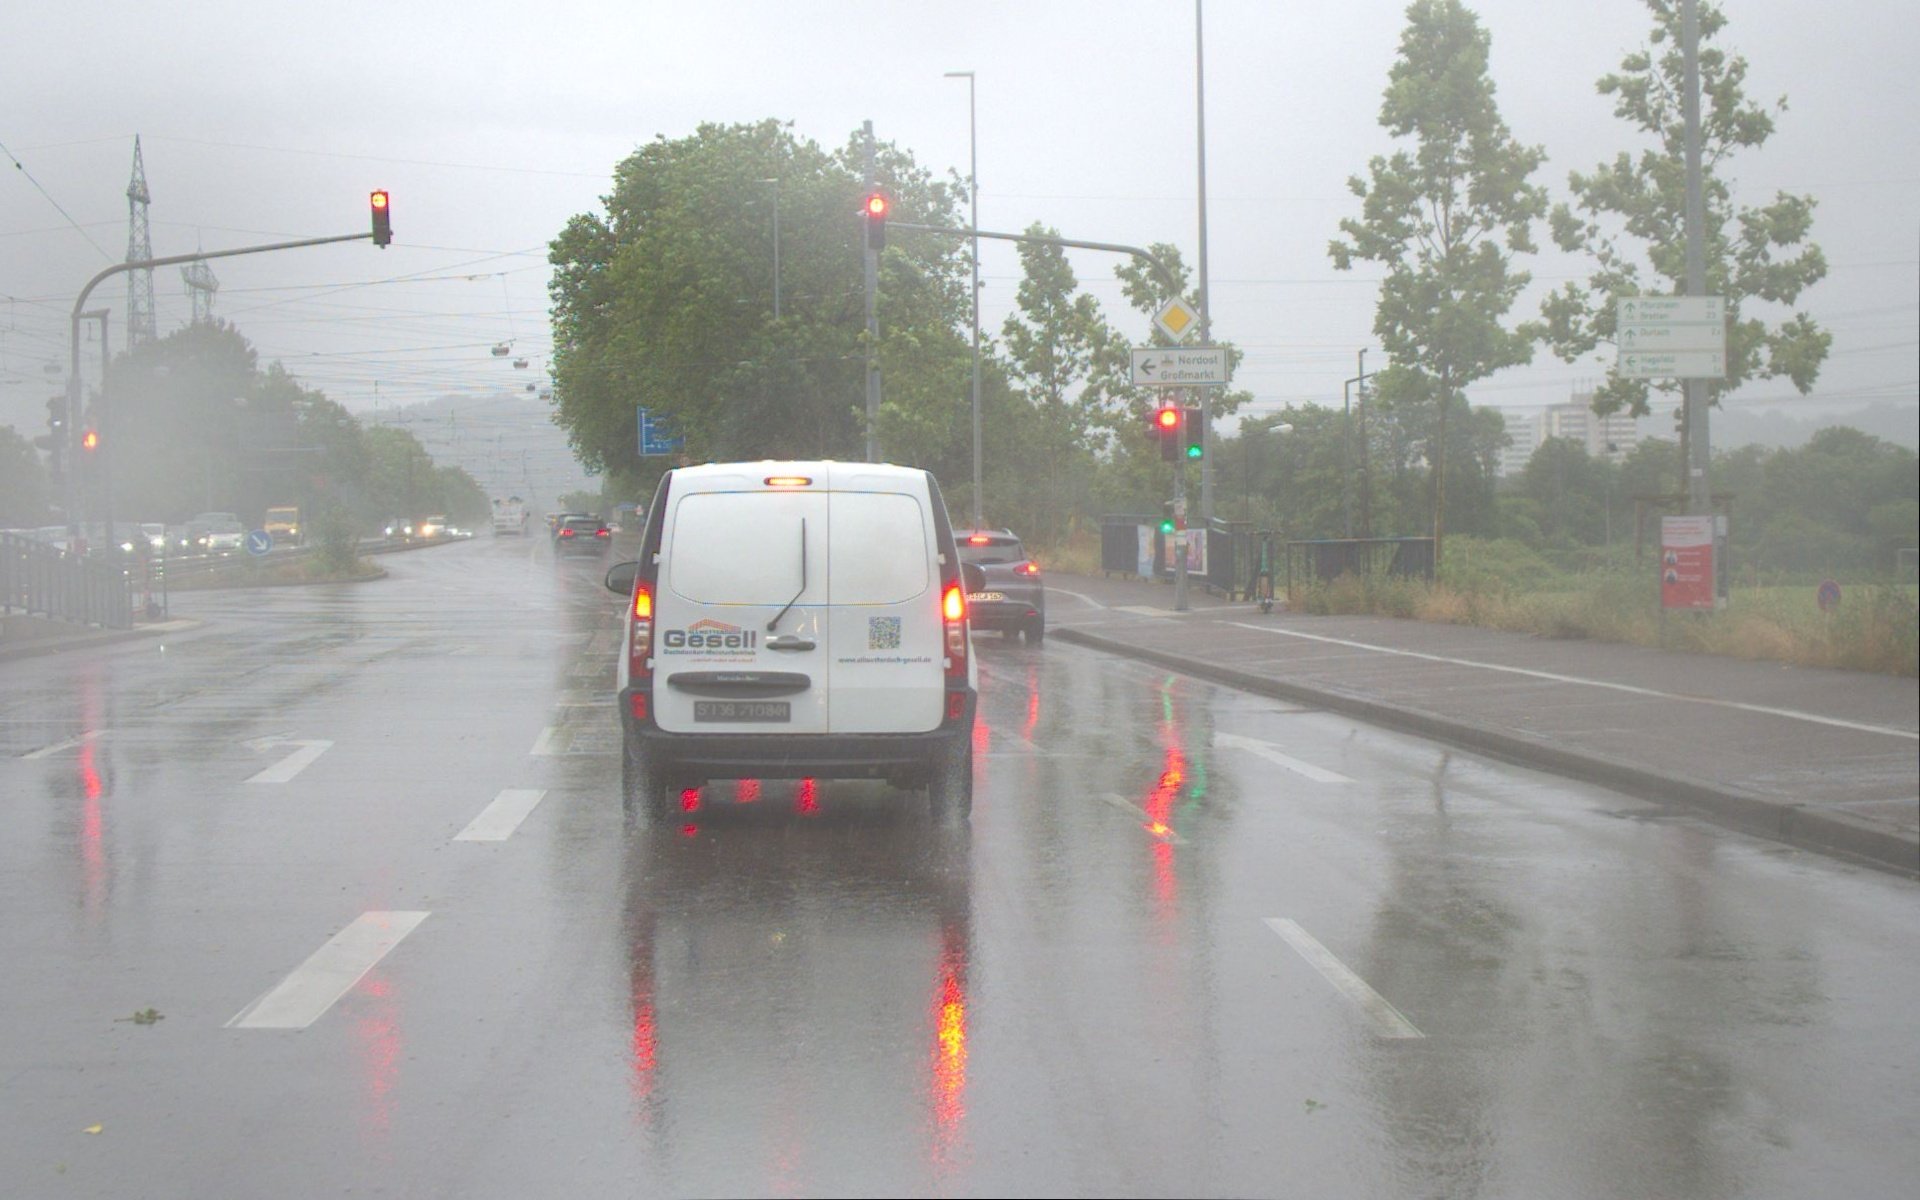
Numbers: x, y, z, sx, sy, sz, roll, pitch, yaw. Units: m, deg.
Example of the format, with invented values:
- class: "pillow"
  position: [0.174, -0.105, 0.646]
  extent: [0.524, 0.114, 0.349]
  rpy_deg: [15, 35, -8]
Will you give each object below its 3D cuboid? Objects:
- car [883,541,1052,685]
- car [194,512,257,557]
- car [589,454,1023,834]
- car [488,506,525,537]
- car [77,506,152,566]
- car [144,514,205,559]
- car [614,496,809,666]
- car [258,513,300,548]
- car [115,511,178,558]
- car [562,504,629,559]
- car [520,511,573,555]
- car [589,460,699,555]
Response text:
- class: "car"
  position: [0.051, 0.127, 44.944]
  extent: [1.993, 1.744, 4.001]
  rpy_deg: [1, 1, -3]
- class: "car"
  position: [-33.302, -2.968, 155.913]
  extent: [1.993, 2.007, 4.000]
  rpy_deg: [1, 1, -1]
- class: "car"
  position: [-0.915, 0.164, 18.340]
  extent: [2.024, 1.769, 4.275]
  rpy_deg: [1, 1, -5]
- class: "car"
  position: [-25.611, -4.436, 194.059]
  extent: [1.993, 1.744, 4.001]
  rpy_deg: [1, 1, -9]
- class: "car"
  position: [-29.116, -2.200, 118.497]
  extent: [1.993, 2.007, 4.001]
  rpy_deg: [1, 1, -6]
- class: "car"
  position: [-36.099, -2.941, 158.070]
  extent: [1.993, 2.007, 4.001]
  rpy_deg: [1, 1, -2]
- class: "car"
  position: [-2.702, -0.240, 37.754]
  extent: [1.993, 1.744, 4.001]
  rpy_deg: [1, 1, -3]
- class: "car"
  position: [-40.311, -4.117, 203.620]
  extent: [1.993, 2.007, 4.001]
  rpy_deg: [1, 1, -5]
- class: "car"
  position: [-35.505, -2.867, 150.133]
  extent: [1.993, 2.007, 4.001]
  rpy_deg: [1, 1, -4]
- class: "car"
  position: [-12.048, -2.270, 113.405]
  extent: [1.993, 1.744, 4.001]
  rpy_deg: [1, 1, -9]
- class: "car"
  position: [-16.957, -2.745, 140.722]
  extent: [1.993, 1.744, 4.001]
  rpy_deg: [1, 1, -9]
- class: "car"
  position: [-6.048, -1.778, 66.199]
  extent: [1.993, 1.744, 4.001]
  rpy_deg: [1, 1, -4]
